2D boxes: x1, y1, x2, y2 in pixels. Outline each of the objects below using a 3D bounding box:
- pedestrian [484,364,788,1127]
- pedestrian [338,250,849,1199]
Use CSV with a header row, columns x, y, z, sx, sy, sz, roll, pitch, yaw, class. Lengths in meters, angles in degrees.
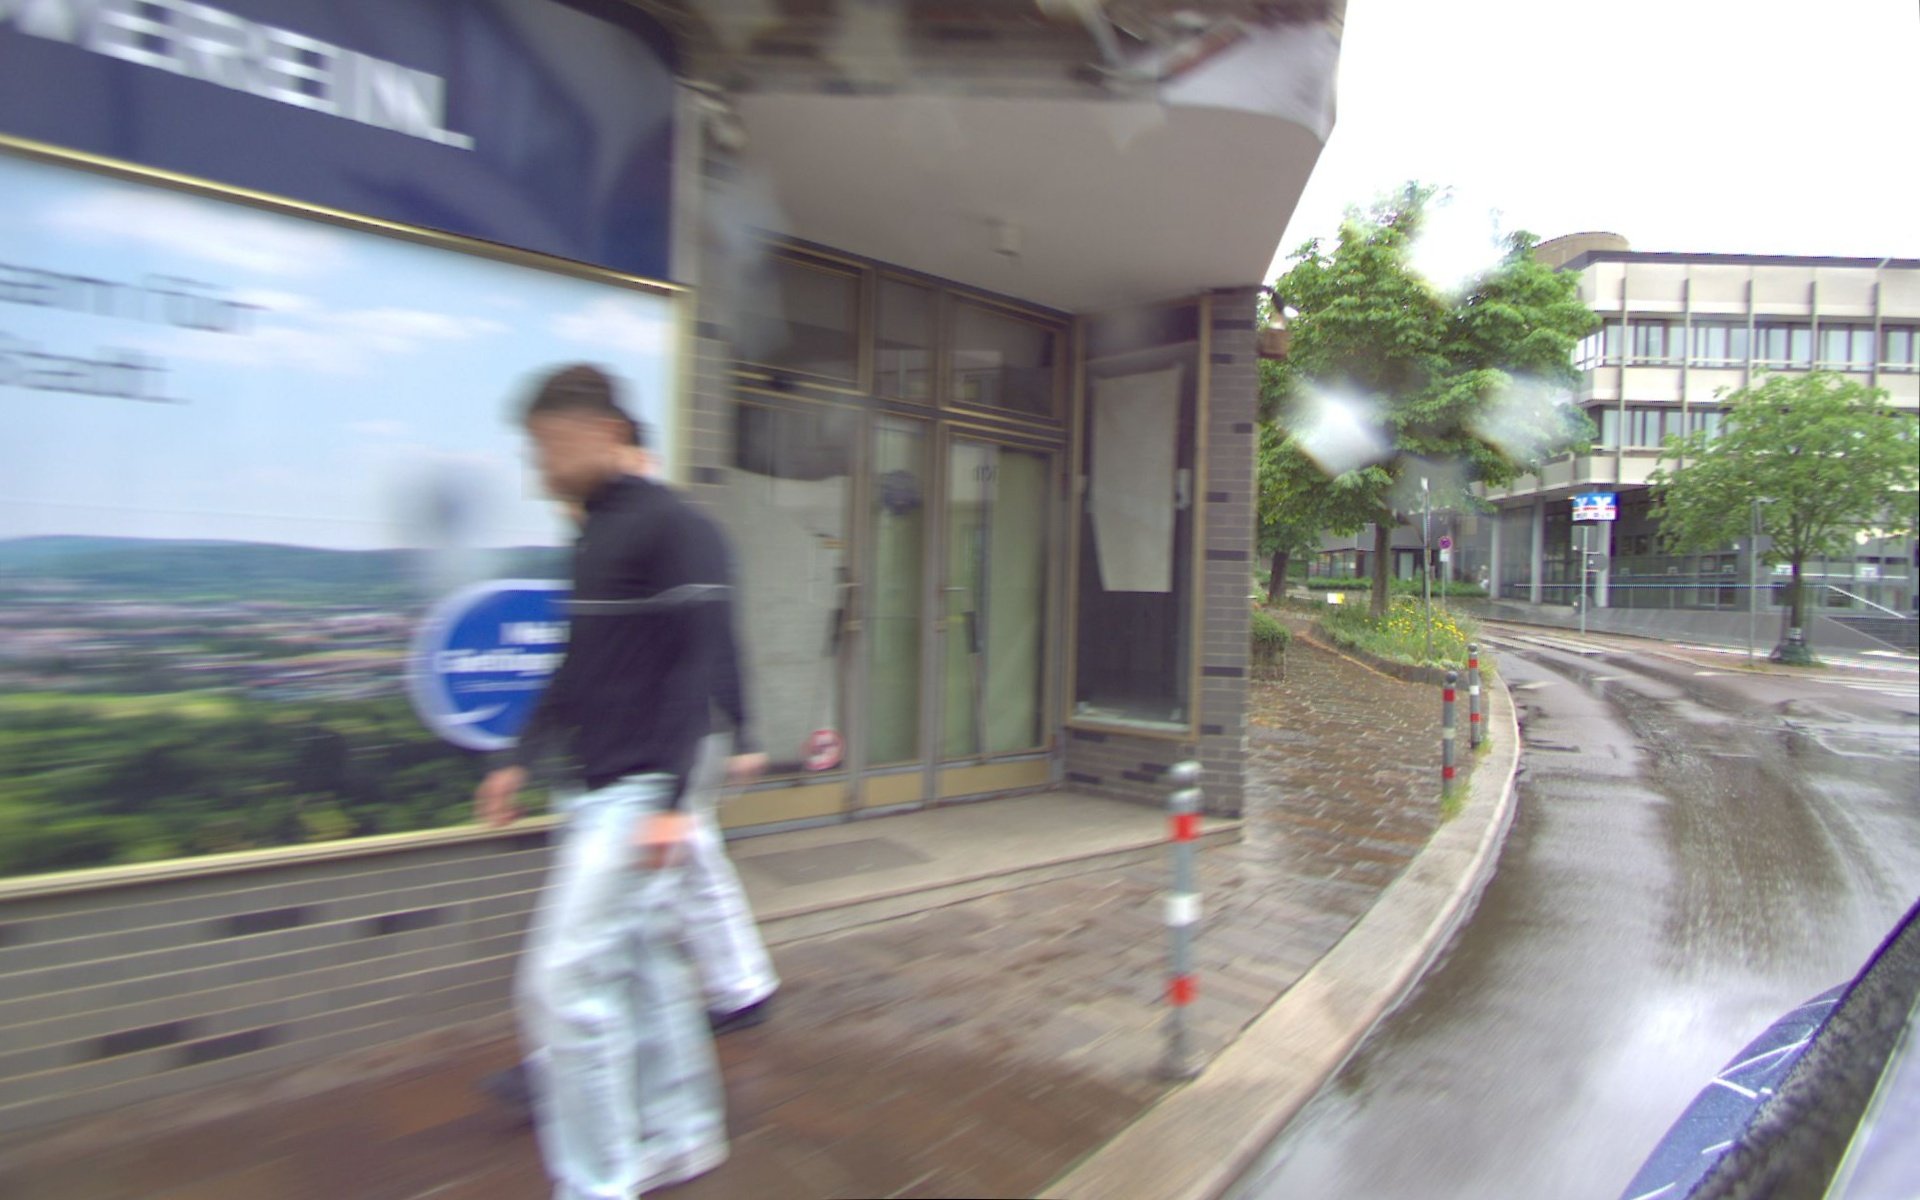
x,y,z,sx,sy,sz,roll,pitch,yaw,class
-0.973,0.354,2.999,0.647,1.926,0.655,-1,3,-41,pedestrian
-0.789,0.400,2.157,0.791,1.928,0.773,-1,1,-41,pedestrian
